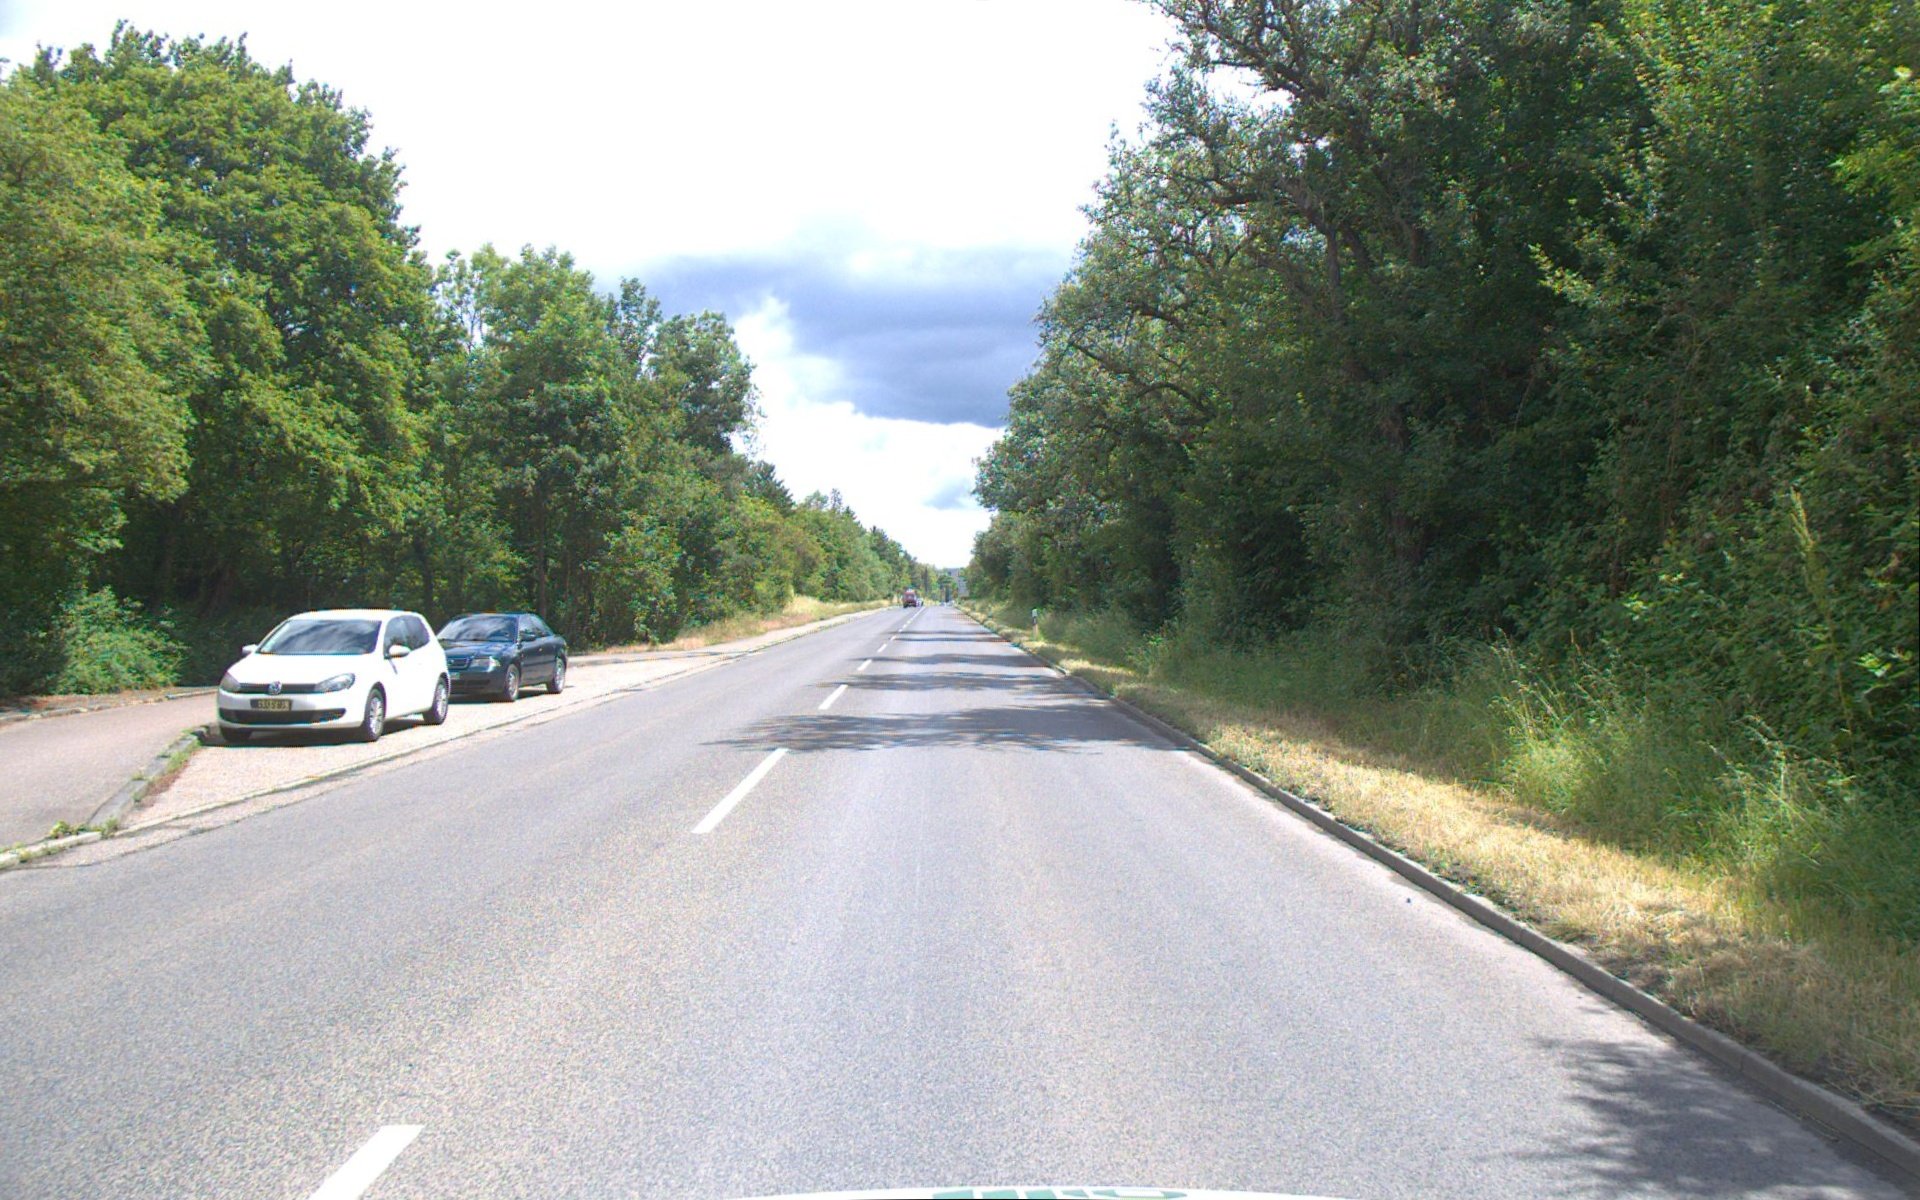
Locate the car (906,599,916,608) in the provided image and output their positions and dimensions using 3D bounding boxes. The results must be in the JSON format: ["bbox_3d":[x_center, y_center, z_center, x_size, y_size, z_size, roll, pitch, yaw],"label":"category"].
[{"bbox_3d":[-6.938,0.474,236.195,1.363,1.221,3.015,-1,0,-1],"label":"car"}]

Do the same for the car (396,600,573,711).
[{"bbox_3d":[-7.806,0.859,27.537,1.761,1.653,3.955,-1,0,0],"label":"car"}]

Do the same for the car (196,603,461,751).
[{"bbox_3d":[-7.588,0.856,20.292,1.761,1.570,3.954,1,1,-1],"label":"car"}]
